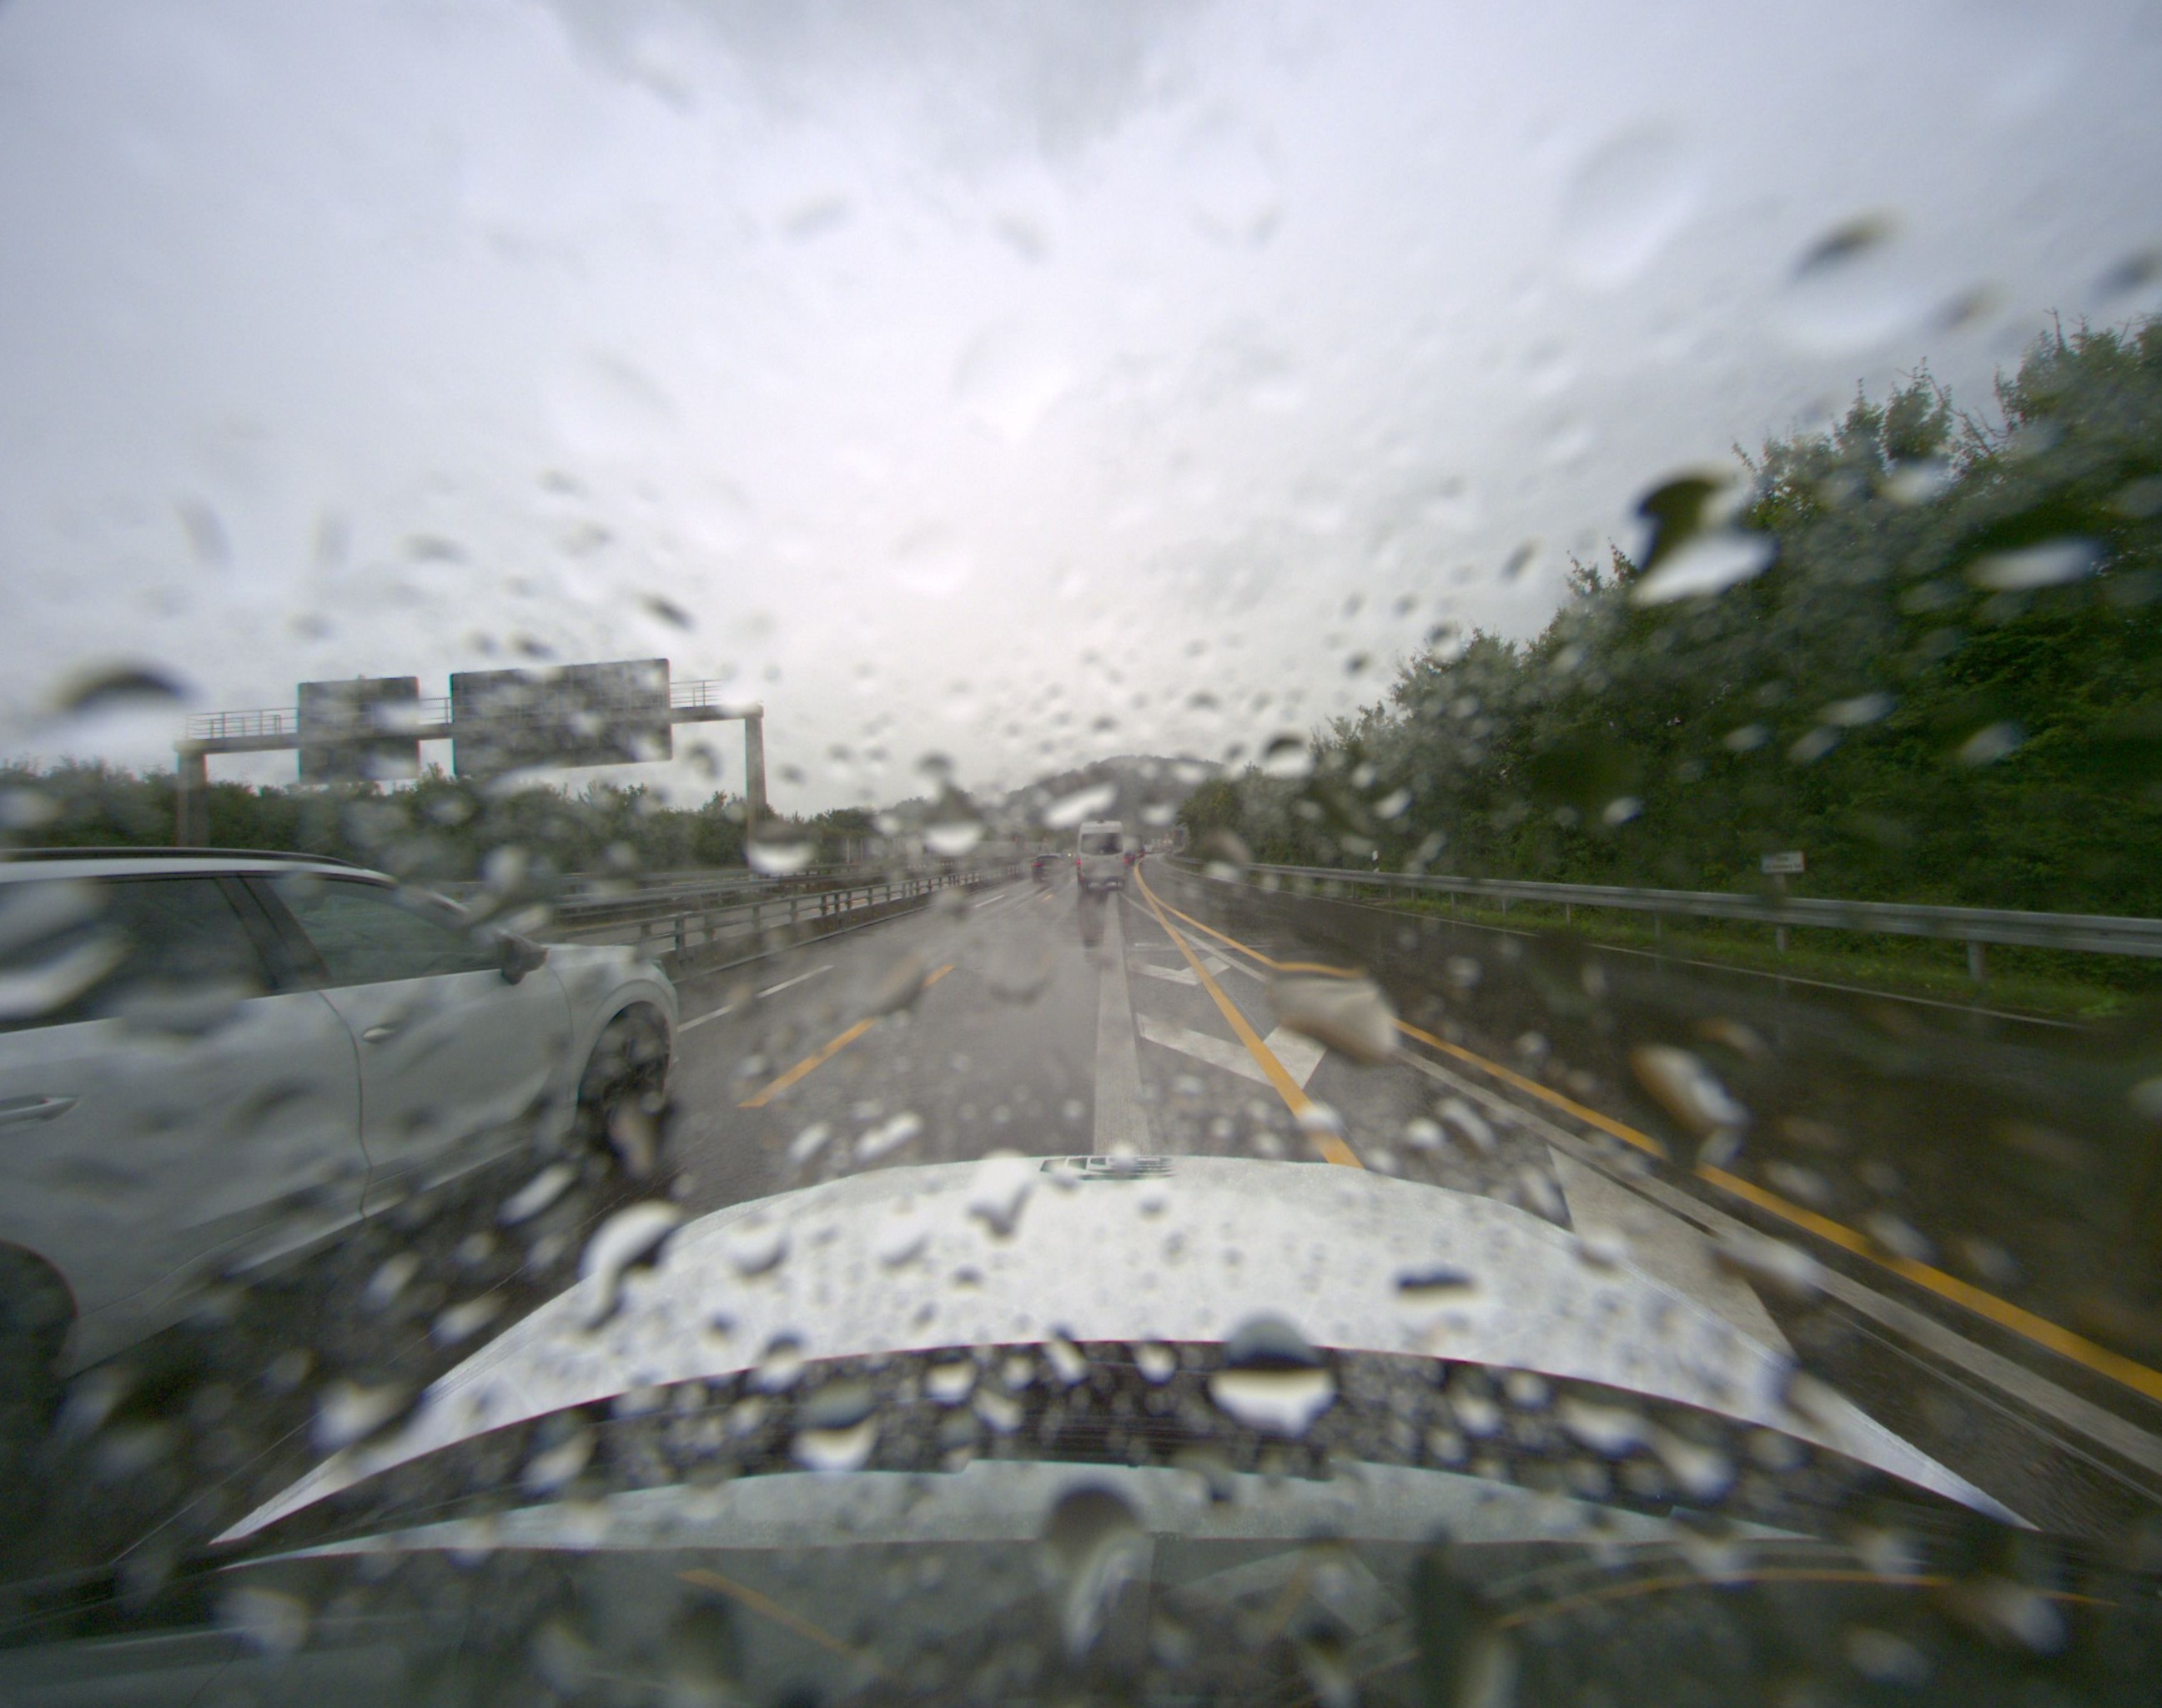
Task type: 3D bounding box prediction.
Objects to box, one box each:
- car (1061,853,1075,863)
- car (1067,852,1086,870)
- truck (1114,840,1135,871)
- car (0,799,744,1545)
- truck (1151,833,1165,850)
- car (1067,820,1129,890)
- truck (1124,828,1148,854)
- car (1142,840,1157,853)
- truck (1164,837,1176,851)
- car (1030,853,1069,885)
[{"bbox_3d":[-1.953,0.574,123.106,1.840,1.502,4.132,-1,0,2],"label":"car"},{"bbox_3d":[-0.396,0.662,76.850,1.701,1.627,4.000,-1,0,1],"label":"car"},{"bbox_3d":[4.708,0.099,86.659,1.984,3.109,8.509,-1,0,4],"label":"truck"},{"bbox_3d":[-3.304,0.701,2.983,1.986,1.617,4.798,-1,0,2],"label":"car"},{"bbox_3d":[21.491,-3.395,225.909,3.017,4.406,9.651,-1,0,10],"label":"truck"},{"bbox_3d":[0.775,0.029,32.727,2.135,2.571,5.396,-1,0,4],"label":"car"},{"bbox_3d":[9.602,-2.171,140.654,3.562,4.406,9.644,-1,0,7],"label":"truck"},{"bbox_3d":[15.849,-1.652,188.307,2.880,2.887,6.431,-1,0,11],"label":"car"},{"bbox_3d":[28.369,-3.246,259.288,2.878,4.406,9.658,-1,0,13],"label":"truck"},{"bbox_3d":[-1.629,0.754,42.831,1.941,1.561,3.998,-1,0,-2],"label":"car"}]
